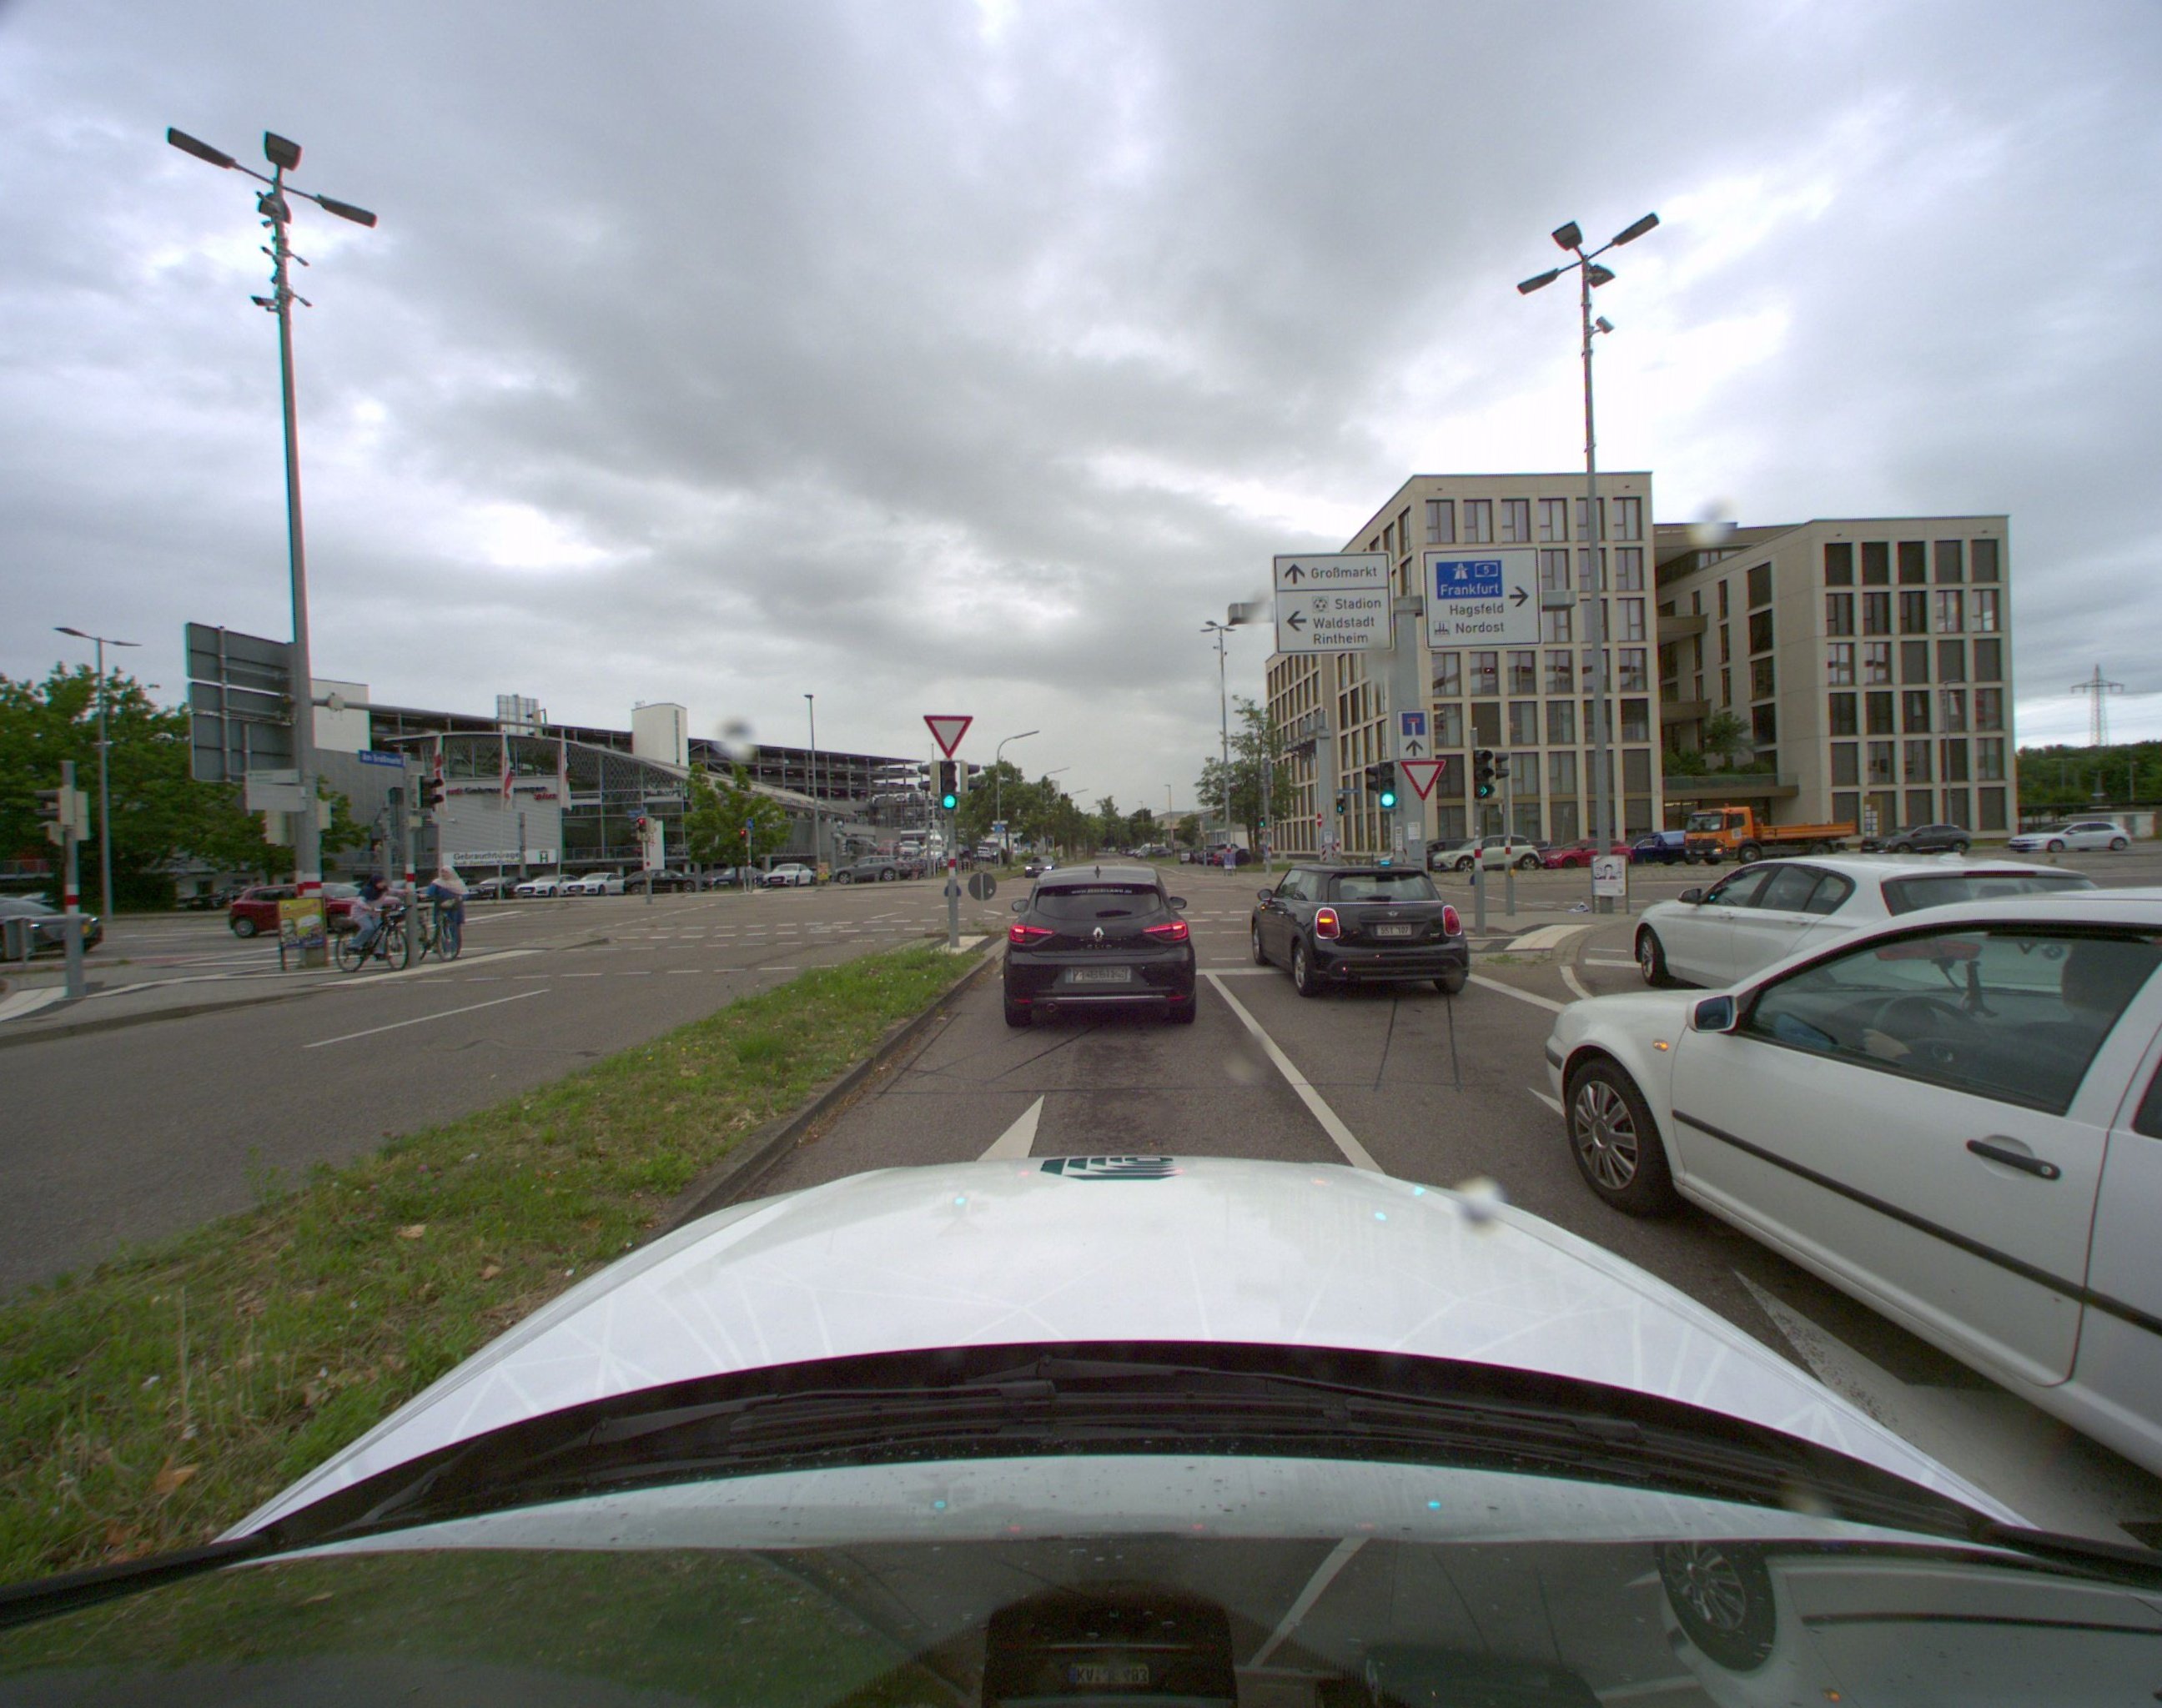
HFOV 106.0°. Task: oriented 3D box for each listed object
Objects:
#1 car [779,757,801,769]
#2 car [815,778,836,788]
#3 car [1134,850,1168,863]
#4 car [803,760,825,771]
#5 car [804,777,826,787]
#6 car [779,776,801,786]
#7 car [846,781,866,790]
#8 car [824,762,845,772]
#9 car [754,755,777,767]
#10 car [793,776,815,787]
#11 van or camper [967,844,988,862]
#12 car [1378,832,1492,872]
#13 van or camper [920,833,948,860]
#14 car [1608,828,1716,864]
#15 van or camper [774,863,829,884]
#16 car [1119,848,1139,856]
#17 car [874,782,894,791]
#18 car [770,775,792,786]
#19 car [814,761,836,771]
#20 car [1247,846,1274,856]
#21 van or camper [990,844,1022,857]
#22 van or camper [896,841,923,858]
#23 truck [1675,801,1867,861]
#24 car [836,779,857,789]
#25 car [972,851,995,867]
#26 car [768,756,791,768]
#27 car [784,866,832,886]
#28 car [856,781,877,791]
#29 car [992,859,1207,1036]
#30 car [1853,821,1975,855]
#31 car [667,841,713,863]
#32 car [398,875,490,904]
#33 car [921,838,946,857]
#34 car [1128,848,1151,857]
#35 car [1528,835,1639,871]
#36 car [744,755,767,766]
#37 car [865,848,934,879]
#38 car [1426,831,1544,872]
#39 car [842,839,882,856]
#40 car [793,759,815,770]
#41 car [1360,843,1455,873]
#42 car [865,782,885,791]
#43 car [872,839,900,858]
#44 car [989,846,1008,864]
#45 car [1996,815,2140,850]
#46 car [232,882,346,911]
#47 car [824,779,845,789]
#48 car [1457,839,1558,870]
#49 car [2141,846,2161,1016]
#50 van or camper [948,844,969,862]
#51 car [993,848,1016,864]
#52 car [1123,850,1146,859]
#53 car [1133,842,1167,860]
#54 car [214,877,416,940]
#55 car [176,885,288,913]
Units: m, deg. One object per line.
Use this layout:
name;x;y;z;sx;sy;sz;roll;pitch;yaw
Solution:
car;-55.545;-17.358;155.480;3.948;1.667;2.013;-1;0;33
car;-50.940;-14.121;162.204;3.948;1.667;2.013;-1;0;33
car;11.040;0.361;128.751;5.158;2.014;2.143;0;-1;-1
car;-52.533;-17.347;160.063;3.948;1.667;2.013;-1;0;33
car;-52.327;-14.082;160.041;3.948;1.667;2.013;-1;0;33
car;-55.658;-13.926;155.763;3.948;1.667;2.013;-1;0;33
car;-46.687;-14.181;168.878;3.948;1.667;2.013;-1;0;33
car;-49.709;-17.496;164.123;3.948;1.667;2.013;-1;0;33
car;-58.583;-17.283;151.288;3.948;1.667;2.013;-1;0;33
car;-53.744;-14.031;157.948;3.948;1.667;2.013;-1;0;33
van or camper;-12.095;-0.141;95.190;1.988;2.014;3.997;0;-1;-2
car;16.279;-0.073;37.556;4.396;1.769;1.998;0;-1;-3
van or camper;-17.141;-0.804;95.140;2.529;3.026;4.840;0;-1;-2
car;29.487;-0.374;41.397;4.126;1.769;1.998;0;-1;-3
van or camper;-23.851;1.677;69.596;3.977;1.711;1.845;0;-1;-2
car;12.844;-0.538;218.682;5.156;2.014;2.144;0;-1;0
car;-42.507;-14.512;175.676;3.948;1.667;2.013;-1;0;33
car;-56.628;-13.808;153.703;3.948;1.667;2.013;-1;0;33
car;-51.062;-17.516;162.331;3.948;1.667;2.013;-1;0;33
car;24.334;-0.411;110.306;3.238;1.332;1.477;0;-1;-17
van or camper;-13.872;-0.602;150.363;5.580;2.372;2.000;0;-1;0
van or camper;-17.630;-0.486;83.779;1.988;1.651;3.997;0;-1;-2
truck;32.063;-1.029;38.047;6.633;2.638;2.820;0;-1;-1
car;-47.989;-14.250;166.557;3.948;1.667;2.013;-1;0;33
car;-10.082;0.521;84.118;1.988;1.618;3.997;0;-1;-2
car;-56.892;-17.370;153.644;3.948;1.667;2.013;-1;0;33
car;-26.092;2.111;77.864;3.979;1.838;1.757;0;-1;-4
car;-45.077;-14.326;171.249;3.948;1.667;2.013;-1;0;33
car;0.215;0.791;8.670;1.750;1.434;4.001;0;-1;2
car;42.573;-0.796;41.698;4.089;1.657;2.002;0;-1;3
car;-30.596;-0.149;63.795;1.815;1.662;3.995;0;-1;-3
car;-35.532;2.015;45.569;1.897;1.486;4.186;-2;-3;-2
car;-15.169;-0.625;83.847;1.988;1.823;3.997;0;-1;-2
car;12.527;-0.293;175.354;4.771;1.891;2.143;0;-1;-1
car;23.250;-0.018;37.787;3.976;1.601;1.999;0;-1;-2
car;-59.629;-17.149;149.262;3.948;1.667;2.013;-1;0;33
car;-13.738;0.724;61.997;4.765;2.013;1.997;-4;-1;-5
car;16.927;-0.099;34.243;4.047;1.643;1.903;0;-1;-4
car;-24.387;-0.731;90.734;3.975;1.838;1.759;0;-1;-1
car;-53.764;-17.362;158.080;3.948;1.667;2.013;-1;0;33
car;16.344;0.207;40.838;4.074;1.432;1.750;0;-1;-3
car;-43.870;-14.394;173.183;3.948;1.667;2.013;-1;0;33
car;-20.066;-0.581;84.079;1.988;1.849;3.997;0;-1;-2
car;-9.634;0.174;95.332;1.988;2.014;3.997;0;-1;-2
car;49.140;-1.046;40.653;4.319;1.657;2.006;-1;-1;10
car;-43.805;2.346;45.201;1.837;1.472;4.660;-1;-2;-2
car;-49.698;-14.135;164.027;3.948;1.667;2.013;-1;0;33
car;21.401;0.013;40.940;4.126;1.490;1.870;0;-1;-3
car;9.469;0.627;4.787;1.884;1.449;4.199;-1;-1;18
van or camper;-14.293;-0.126;95.052;1.988;2.014;3.997;0;-1;-2
car;-7.887;0.221;84.633;1.987;1.618;3.999;0;-1;0
car;11.977;0.090;181.965;5.156;2.014;2.144;0;-1;0
car;12.839;-0.560;151.344;6.096;3.116;2.134;0;-1;0
car;-22.440;1.567;23.990;4.058;1.487;1.738;-3;0;-5
car;-46.611;2.423;44.858;1.845;1.421;4.214;-2;-2;-2
